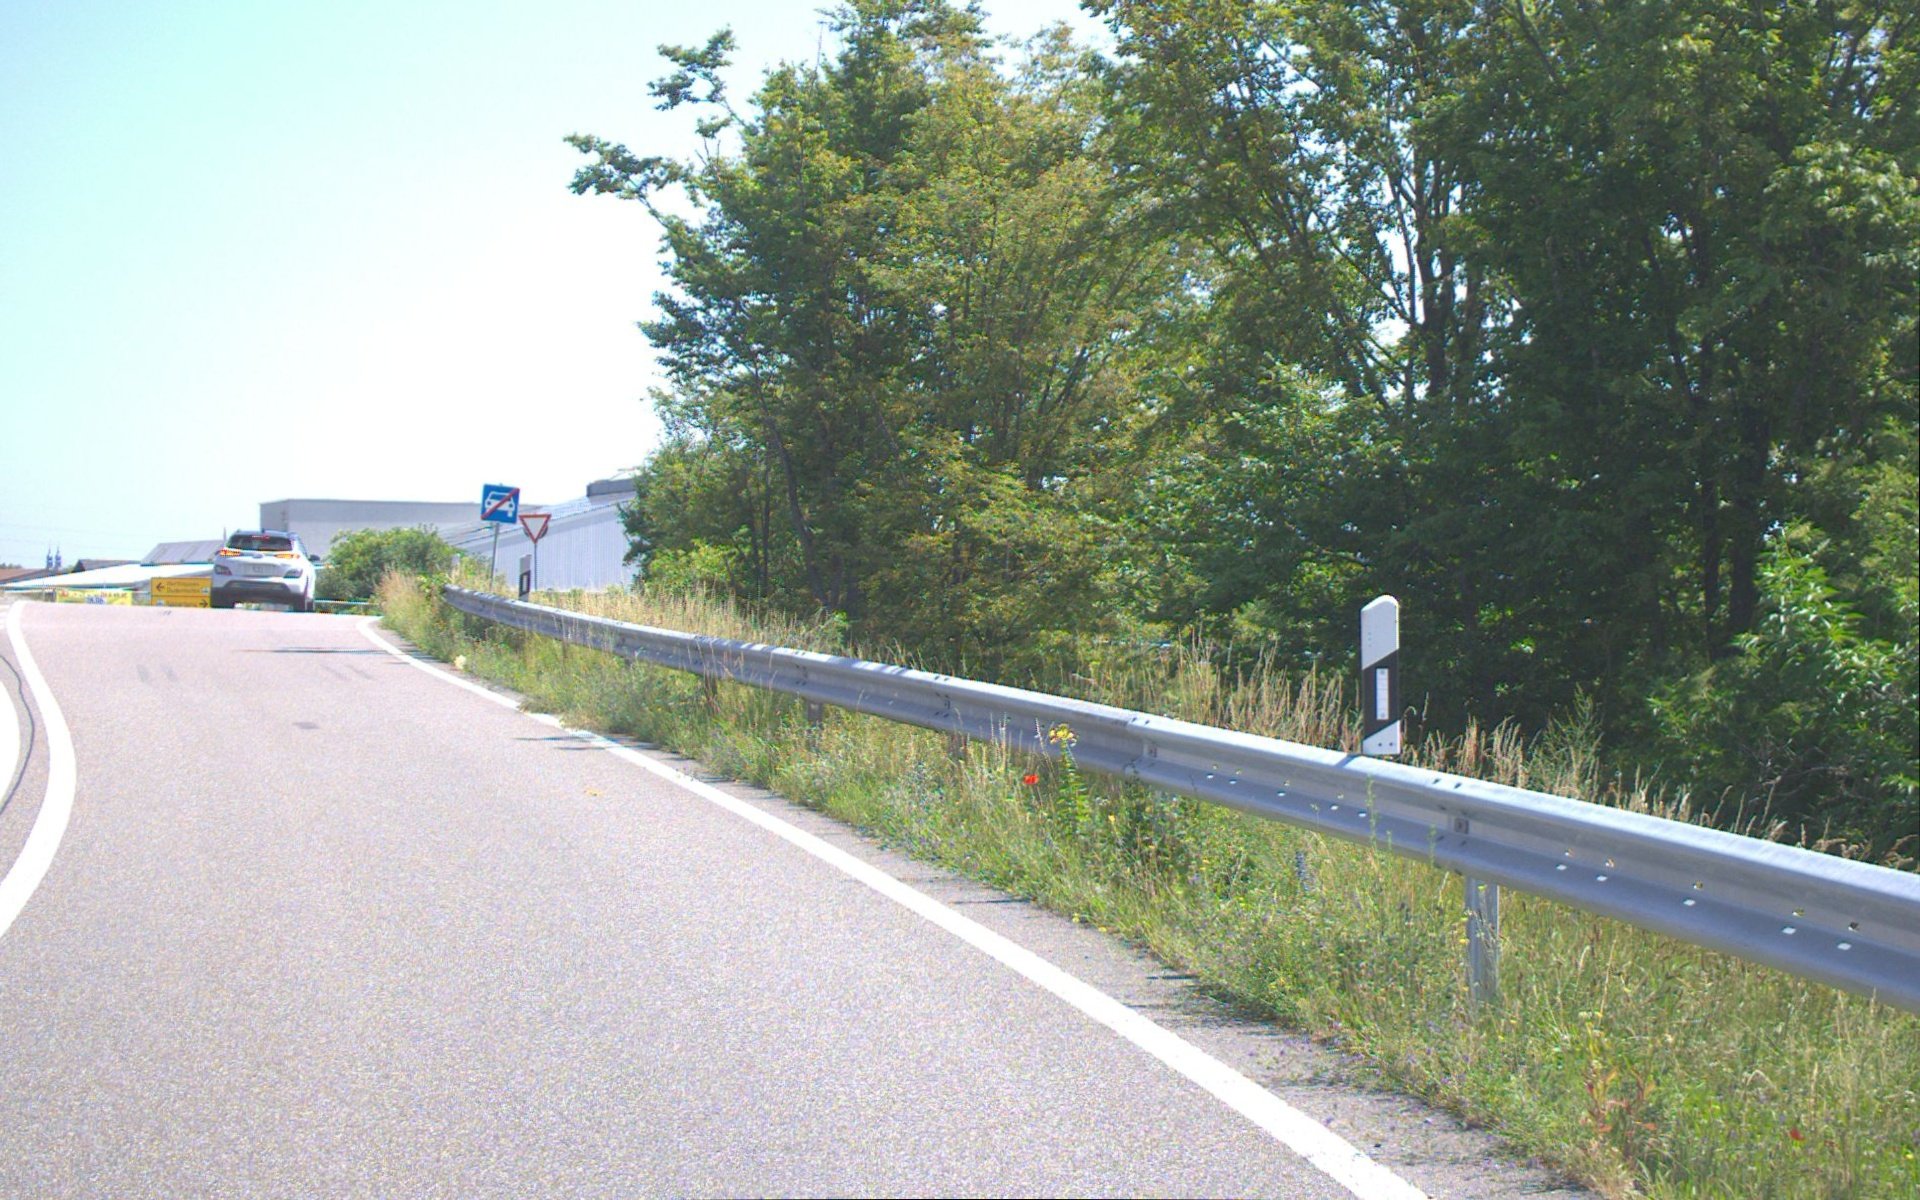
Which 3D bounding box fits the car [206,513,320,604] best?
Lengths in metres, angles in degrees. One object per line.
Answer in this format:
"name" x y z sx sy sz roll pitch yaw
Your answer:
"car" -13.585 -0.784 67.171 1.808 1.685 4.001 0 -1 -6
